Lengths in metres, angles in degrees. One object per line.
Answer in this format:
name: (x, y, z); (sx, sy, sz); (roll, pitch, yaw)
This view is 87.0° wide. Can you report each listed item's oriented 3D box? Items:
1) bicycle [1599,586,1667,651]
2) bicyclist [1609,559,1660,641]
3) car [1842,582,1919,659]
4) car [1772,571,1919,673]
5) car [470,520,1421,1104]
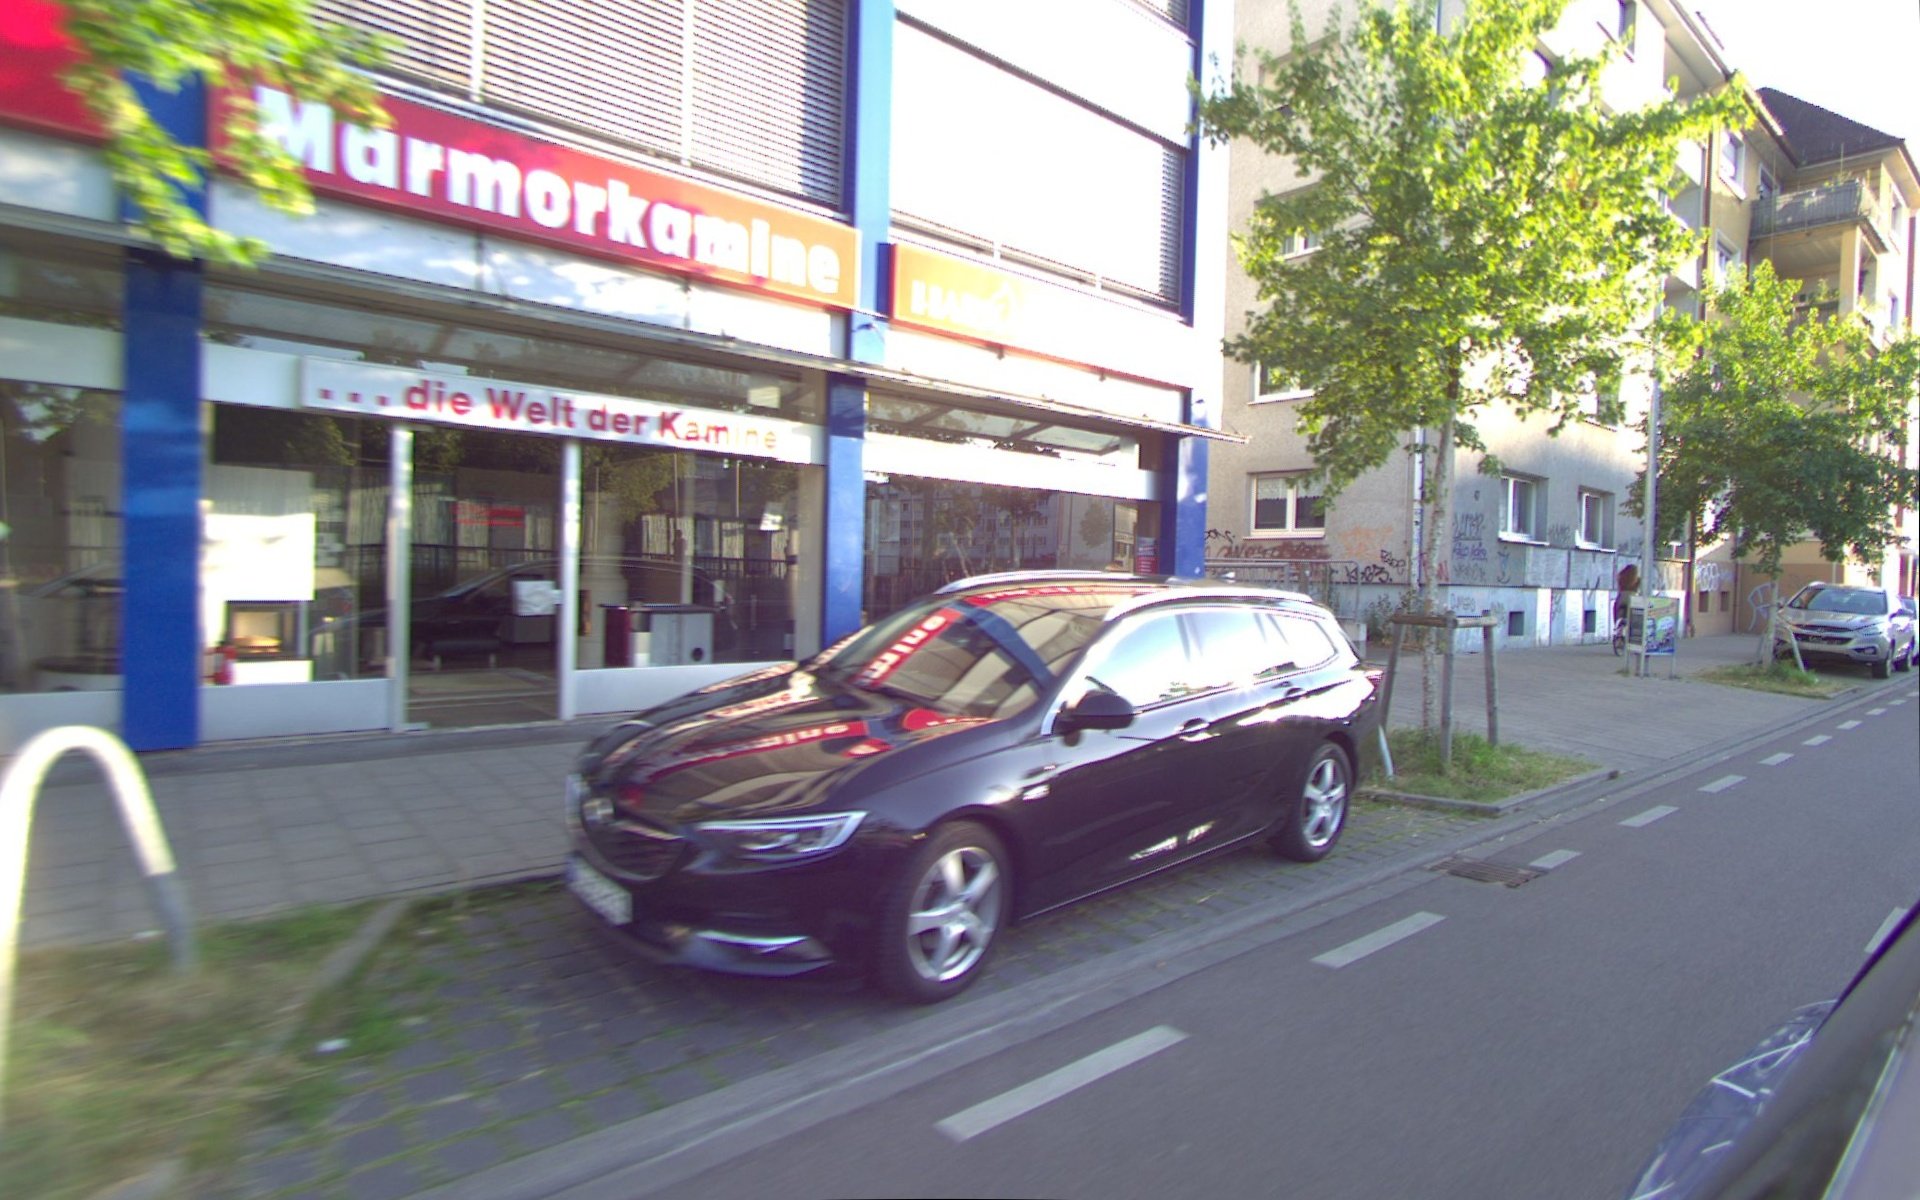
bicycle: (12.847, 0.326, 19.304); (1.940, 1.143, 0.555); (-1, 5, -43)
bicyclist: (12.830, -0.016, 19.253); (0.612, 1.493, 0.559); (-1, 5, -42)
car: (21.560, 0.429, 23.101); (3.540, 1.535, 1.673); (0, 6, -43)
car: (17.425, 0.348, 19.613); (4.449, 1.674, 1.761); (0, 4, -41)
car: (0.339, 0.536, 5.105); (4.728, 1.585, 1.823); (-1, 6, -43)
